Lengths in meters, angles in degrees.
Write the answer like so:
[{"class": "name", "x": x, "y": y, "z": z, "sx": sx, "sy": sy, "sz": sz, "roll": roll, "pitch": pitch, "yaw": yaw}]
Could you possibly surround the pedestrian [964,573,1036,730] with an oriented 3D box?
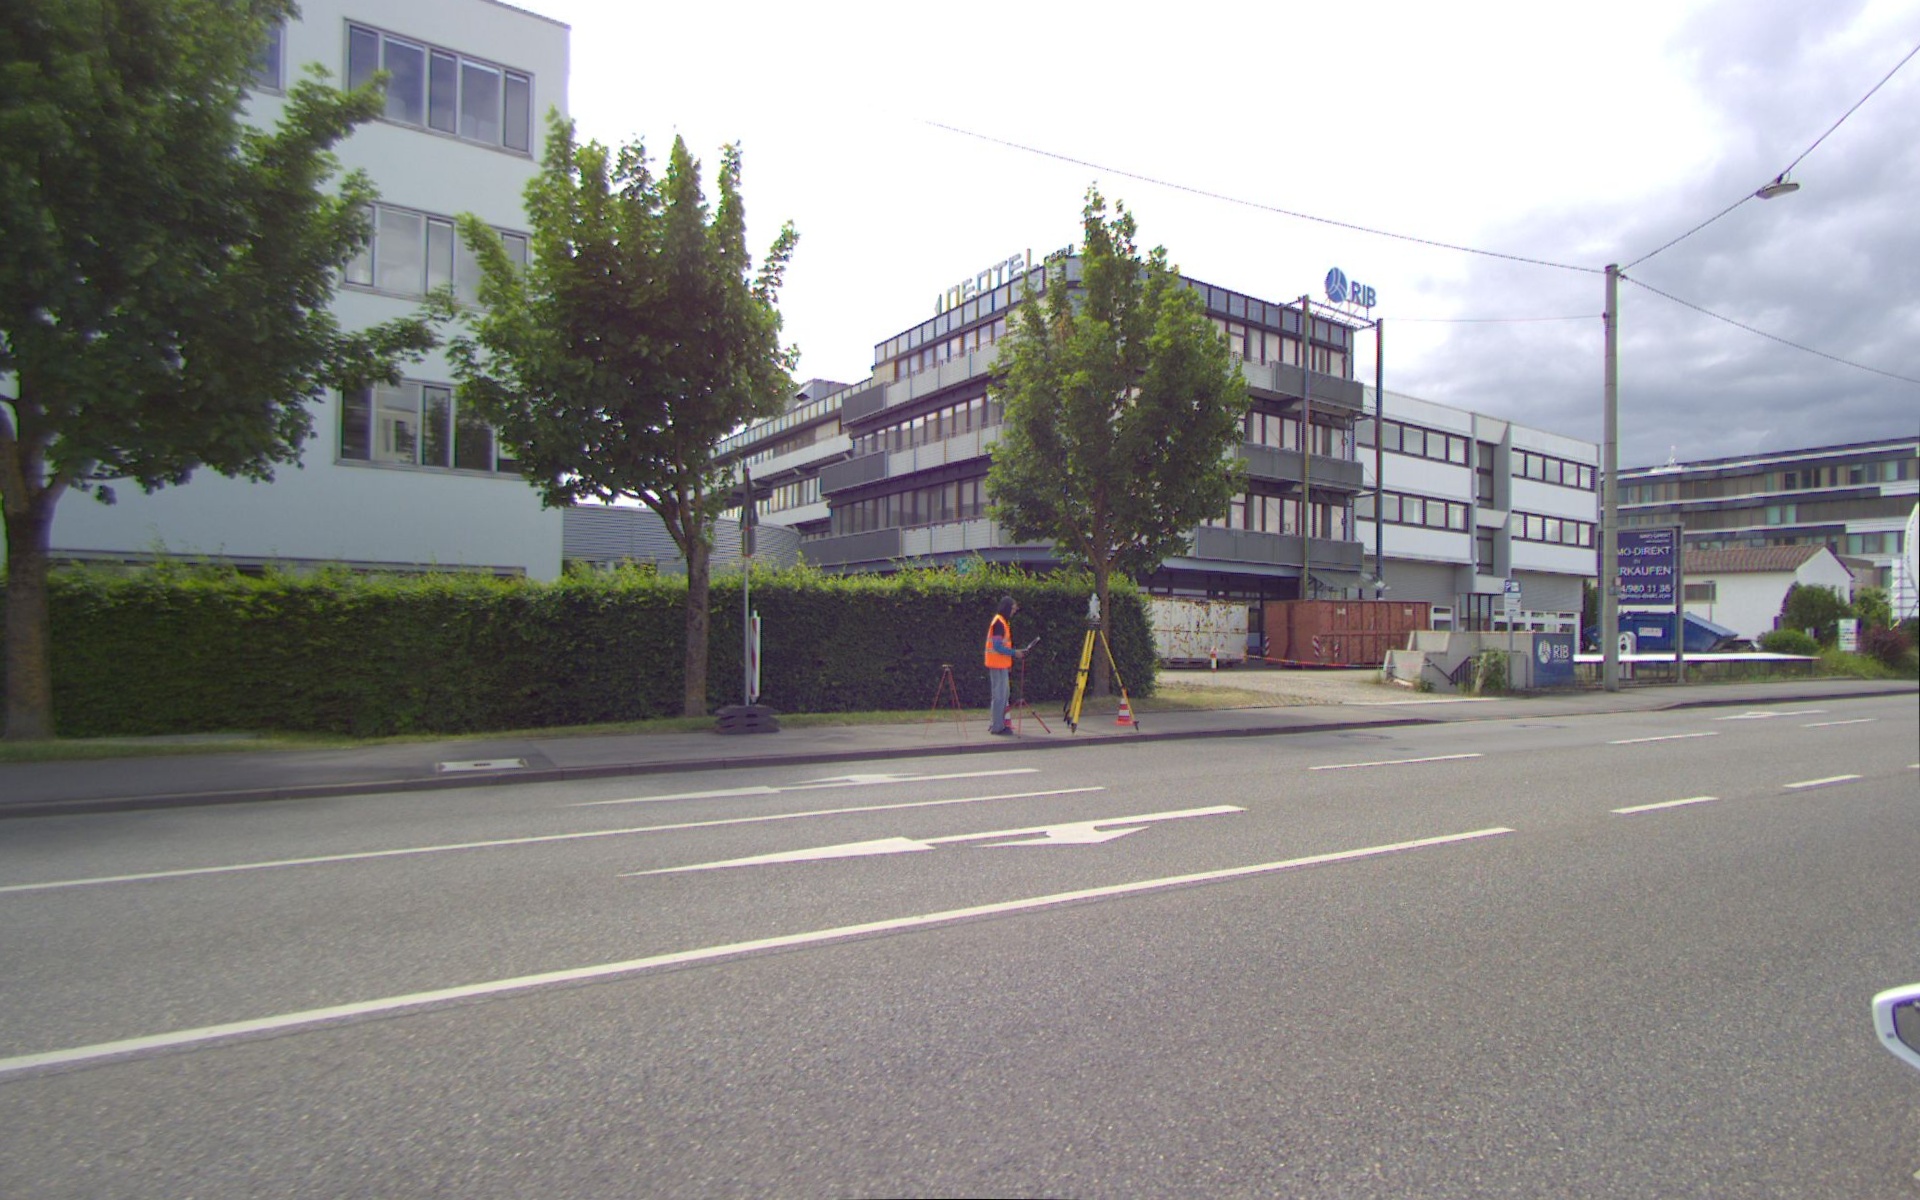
[{"class": "pedestrian", "x": 0.558, "y": 0.686, "z": 13.692, "sx": 0.794, "sy": 2.040, "sz": 0.726, "roll": 2, "pitch": 0, "yaw": 12}]
